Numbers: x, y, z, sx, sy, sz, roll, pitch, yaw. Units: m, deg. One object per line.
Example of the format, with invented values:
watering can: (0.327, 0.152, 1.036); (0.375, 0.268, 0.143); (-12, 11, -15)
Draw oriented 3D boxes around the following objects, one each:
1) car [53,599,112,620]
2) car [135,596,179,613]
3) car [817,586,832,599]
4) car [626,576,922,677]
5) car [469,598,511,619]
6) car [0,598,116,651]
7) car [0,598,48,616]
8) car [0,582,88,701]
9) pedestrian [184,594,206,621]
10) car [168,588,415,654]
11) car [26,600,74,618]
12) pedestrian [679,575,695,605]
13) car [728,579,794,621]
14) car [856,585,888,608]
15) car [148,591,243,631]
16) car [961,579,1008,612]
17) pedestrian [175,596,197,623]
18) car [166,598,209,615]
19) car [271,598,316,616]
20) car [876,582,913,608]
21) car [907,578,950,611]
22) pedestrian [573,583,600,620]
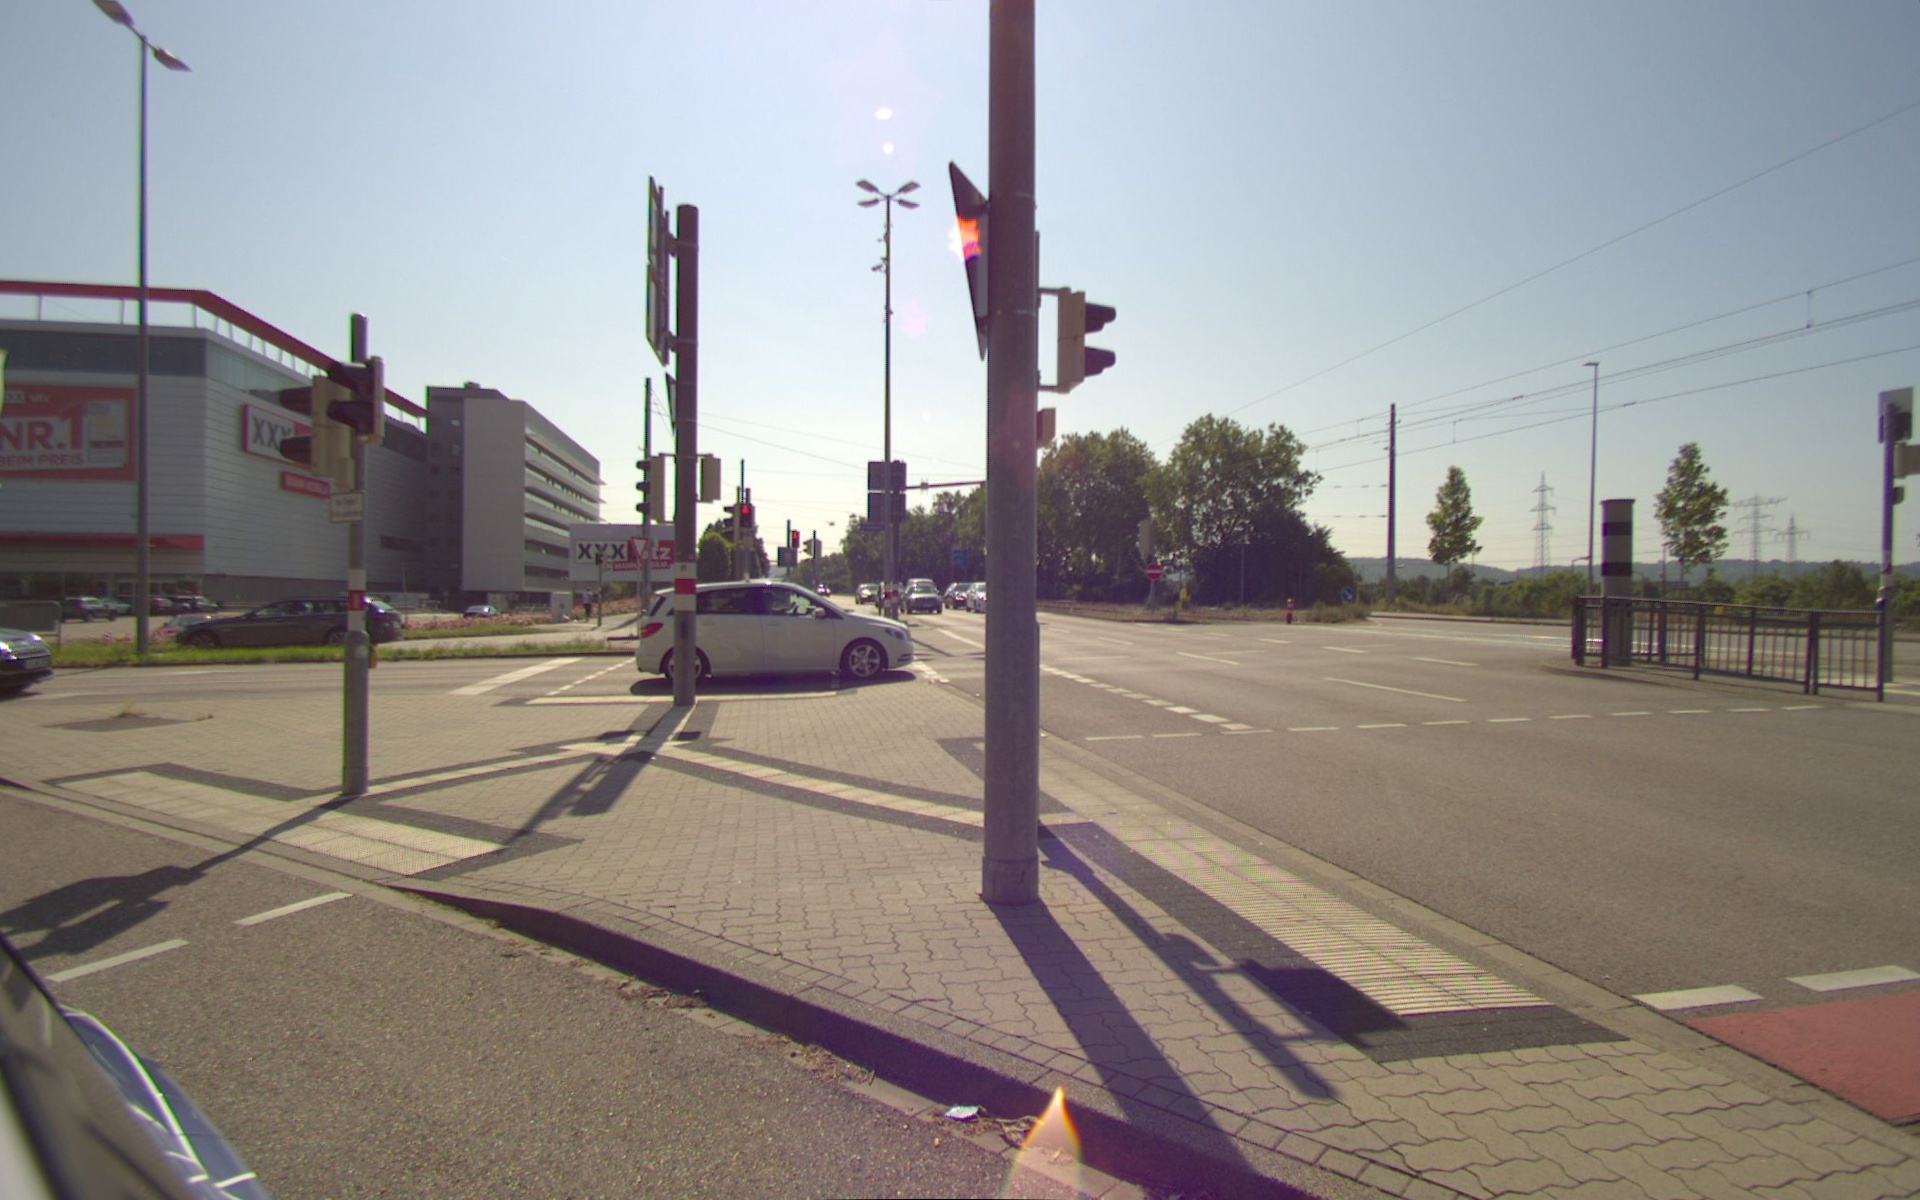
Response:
car: (-59.644, 0.621, 68.832); (1.750, 1.340, 3.105); (1, 0, -12)
car: (-64.021, 0.336, 80.737); (1.491, 1.340, 3.105); (1, 0, -12)
car: (-17.499, -0.976, 130.914); (1.605, 1.637, 3.795); (0, 0, -13)
car: (-2.872, 0.360, 15.884); (4.316, 1.459, 1.751); (0, 1, -11)
car: (-32.276, 0.587, 69.593); (1.700, 1.340, 3.869); (1, 0, -12)
car: (-18.586, 0.480, 20.197); (2.452, 1.012, 1.123); (0, 0, -9)
car: (-72.901, 0.561, 78.728); (1.491, 1.340, 3.105); (1, 0, -12)
car: (-14.919, 0.544, 13.888); (4.132, 1.523, 1.747); (0, 3, -10)
pedestrian: (-57.156, 0.550, 75.647); (0.960, 2.029, 0.951); (0, -1, -10)
car: (-16.478, 0.478, 25.241); (4.733, 1.514, 2.071); (-1, 0, -15)
car: (-70.290, 0.695, 78.178); (1.344, 1.276, 3.105); (1, 0, -12)
pedestrian: (-18.572, -0.655, 68.777); (0.904, 1.987, 0.719); (1, 0, -6)
car: (-9.671, -0.034, 49.434); (1.797, 1.939, 3.987); (-1, 2, 11)
car: (-6.469, -0.250, 74.114); (1.877, 1.584, 3.846); (1, 0, -11)
car: (-32.874, 0.447, 43.650); (1.796, 1.617, 4.209); (1, 0, -15)
car: (1.183, -0.204, 49.438); (1.386, 1.511, 3.363); (1, 0, -14)
pedestrian: (-56.938, 0.690, 74.482); (0.960, 2.029, 0.951); (0, 0, -10)
car: (-61.397, 0.513, 80.520); (1.491, 1.340, 3.105); (1, 0, -12)
car: (-53.681, 0.562, 81.552); (1.723, 1.340, 3.683); (1, 0, -12)
car: (-4.054, -0.260, 61.952); (1.733, 1.532, 4.010); (0, 0, -12)
car: (-1.543, -0.247, 48.769); (1.386, 1.511, 3.406); (1, 0, -13)
pedestrian: (-17.319, 0.083, 46.986); (0.834, 1.720, 0.902); (-1, -1, 13)
